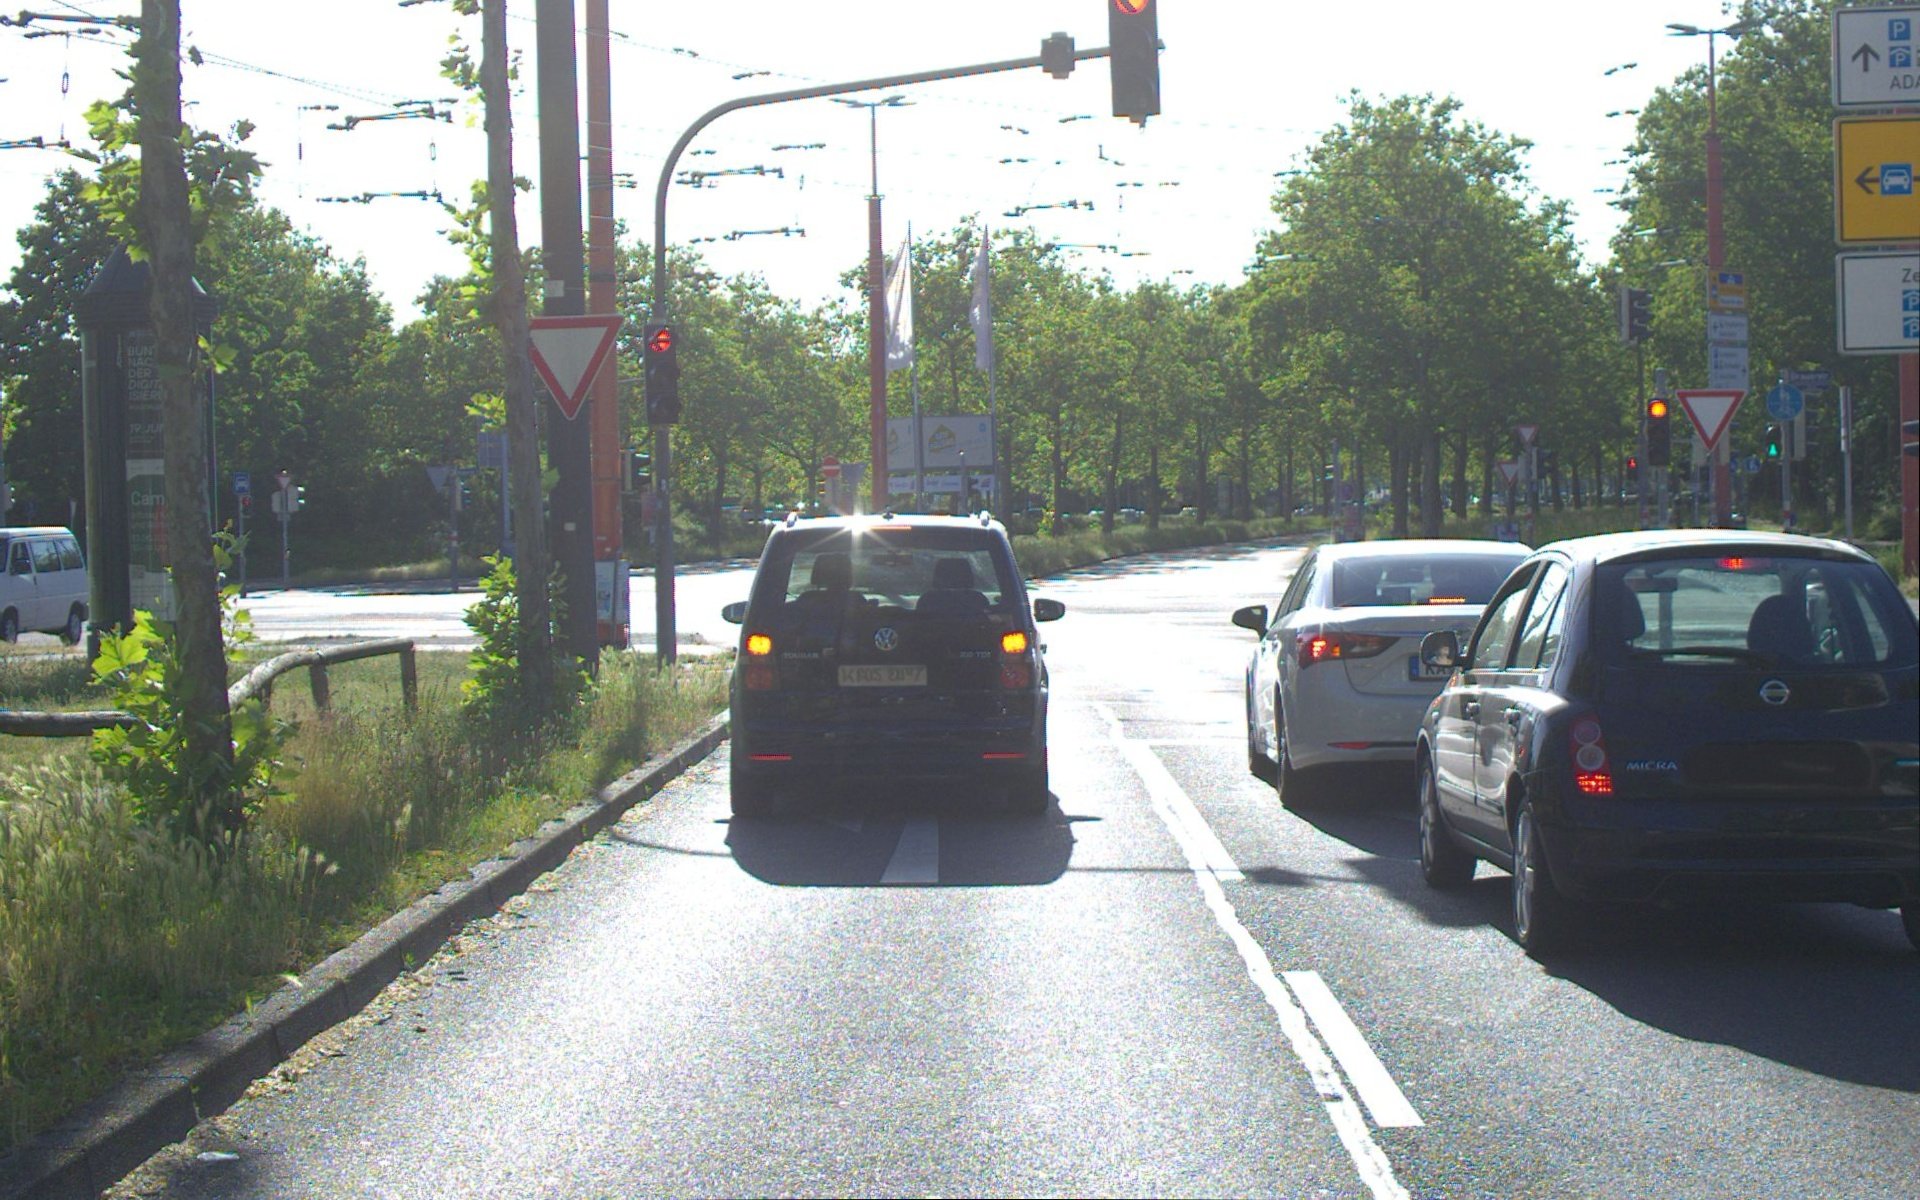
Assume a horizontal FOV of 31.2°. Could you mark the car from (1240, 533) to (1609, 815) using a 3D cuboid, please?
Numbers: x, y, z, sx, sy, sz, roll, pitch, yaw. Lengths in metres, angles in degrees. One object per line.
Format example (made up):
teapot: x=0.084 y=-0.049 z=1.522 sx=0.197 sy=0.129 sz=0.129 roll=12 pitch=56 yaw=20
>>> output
car: x=2.594 y=0.361 z=20.033 sx=1.678 sy=1.470 sz=4.130 roll=0 pitch=1 yaw=1

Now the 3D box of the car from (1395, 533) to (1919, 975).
car: x=2.766 y=0.494 z=13.481 sx=1.639 sy=1.489 sz=3.503 roll=0 pitch=1 yaw=-1

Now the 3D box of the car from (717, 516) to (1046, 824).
car: x=-0.425 y=0.339 z=19.540 sx=1.710 sy=1.598 sz=3.350 roll=0 pitch=1 yaw=-1

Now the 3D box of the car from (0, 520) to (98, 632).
car: x=-15.845 y=-0.409 z=56.410 sx=1.823 sy=1.774 sz=4.566 roll=0 pitch=1 yaw=6
